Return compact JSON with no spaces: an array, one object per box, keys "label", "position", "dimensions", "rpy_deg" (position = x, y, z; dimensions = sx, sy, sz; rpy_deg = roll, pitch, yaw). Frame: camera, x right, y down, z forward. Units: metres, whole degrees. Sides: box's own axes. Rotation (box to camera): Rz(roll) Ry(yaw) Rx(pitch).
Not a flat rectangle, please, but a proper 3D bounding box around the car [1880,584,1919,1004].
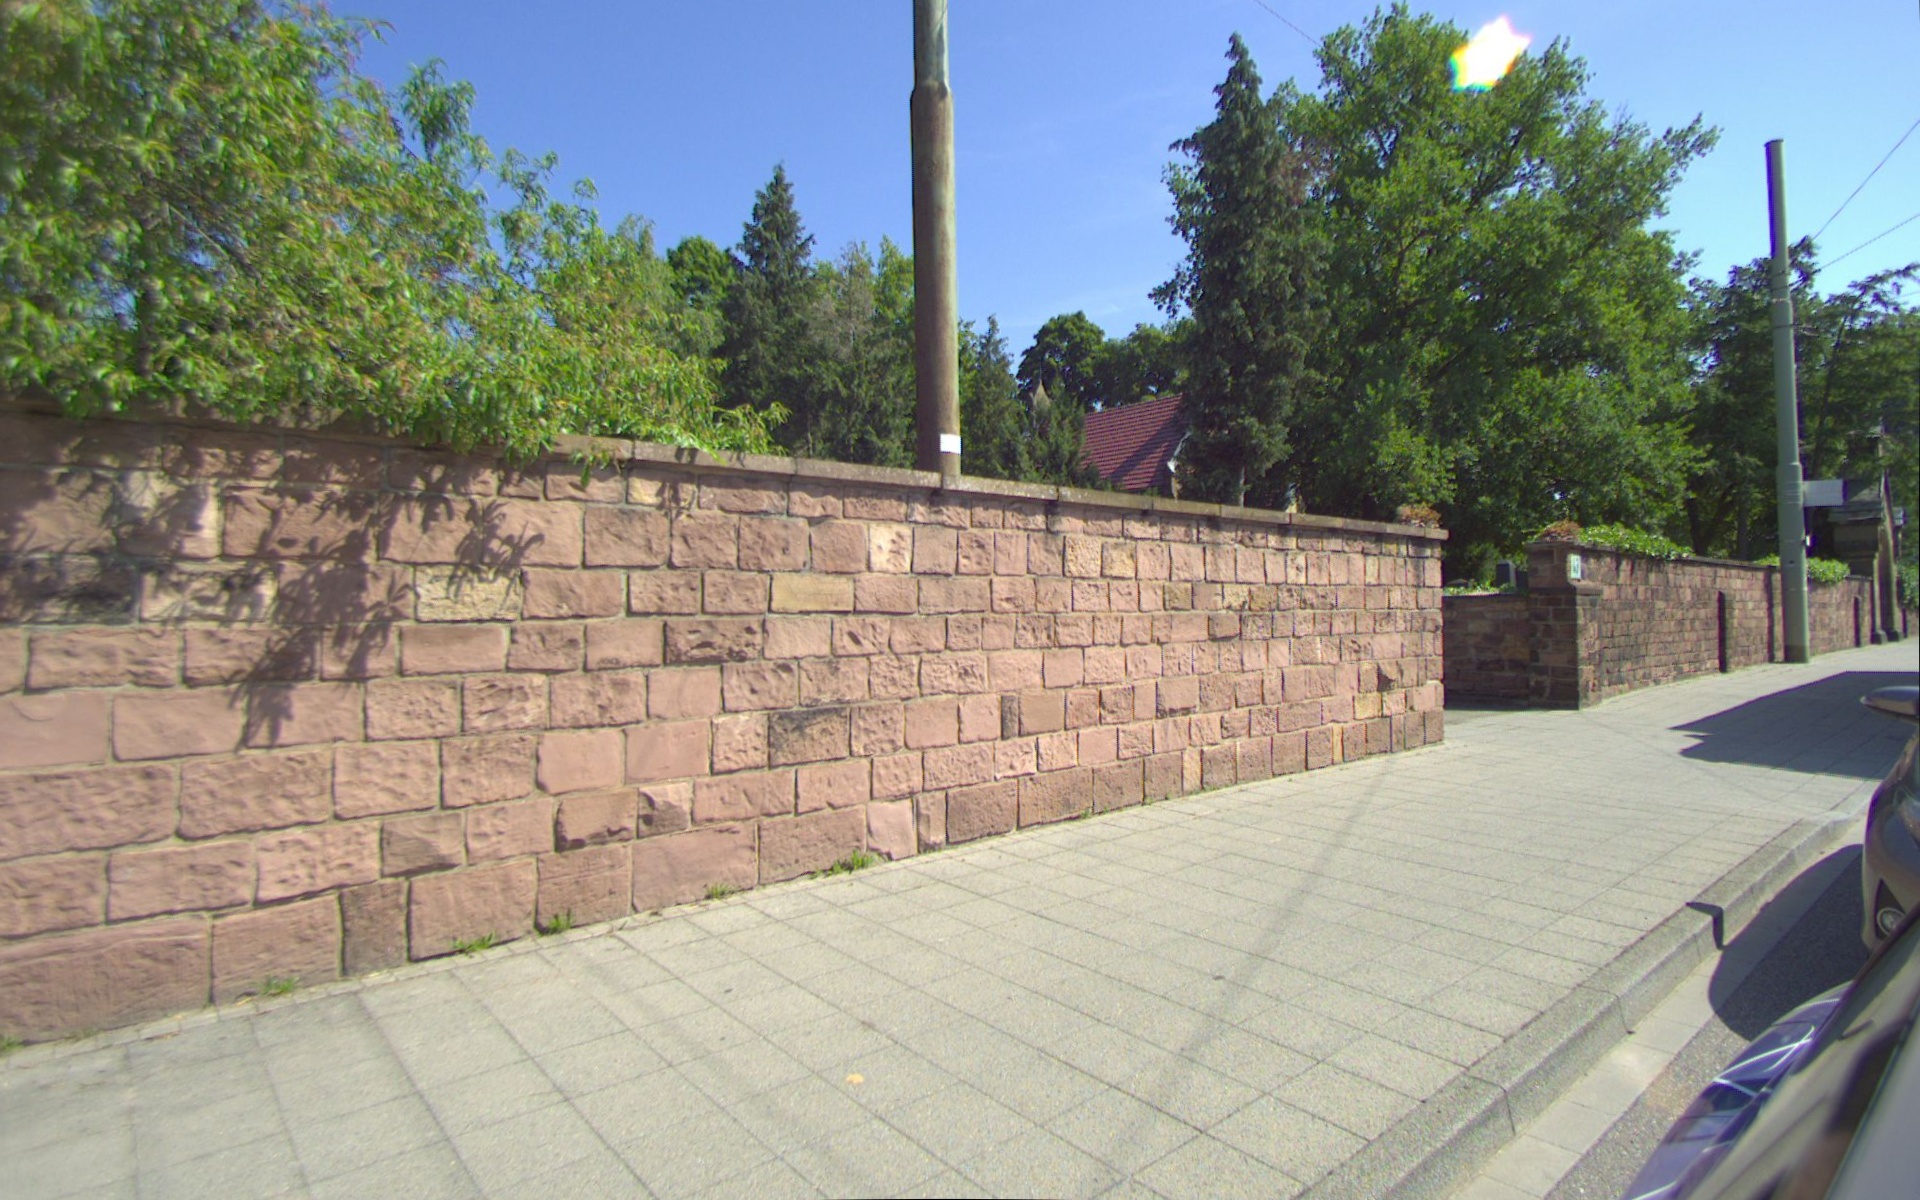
[{"label":"car","position":[5.143,0.643,4.111],"dimensions":[3.930,1.400,1.653],"rpy_deg":[0,0,-41]}]
